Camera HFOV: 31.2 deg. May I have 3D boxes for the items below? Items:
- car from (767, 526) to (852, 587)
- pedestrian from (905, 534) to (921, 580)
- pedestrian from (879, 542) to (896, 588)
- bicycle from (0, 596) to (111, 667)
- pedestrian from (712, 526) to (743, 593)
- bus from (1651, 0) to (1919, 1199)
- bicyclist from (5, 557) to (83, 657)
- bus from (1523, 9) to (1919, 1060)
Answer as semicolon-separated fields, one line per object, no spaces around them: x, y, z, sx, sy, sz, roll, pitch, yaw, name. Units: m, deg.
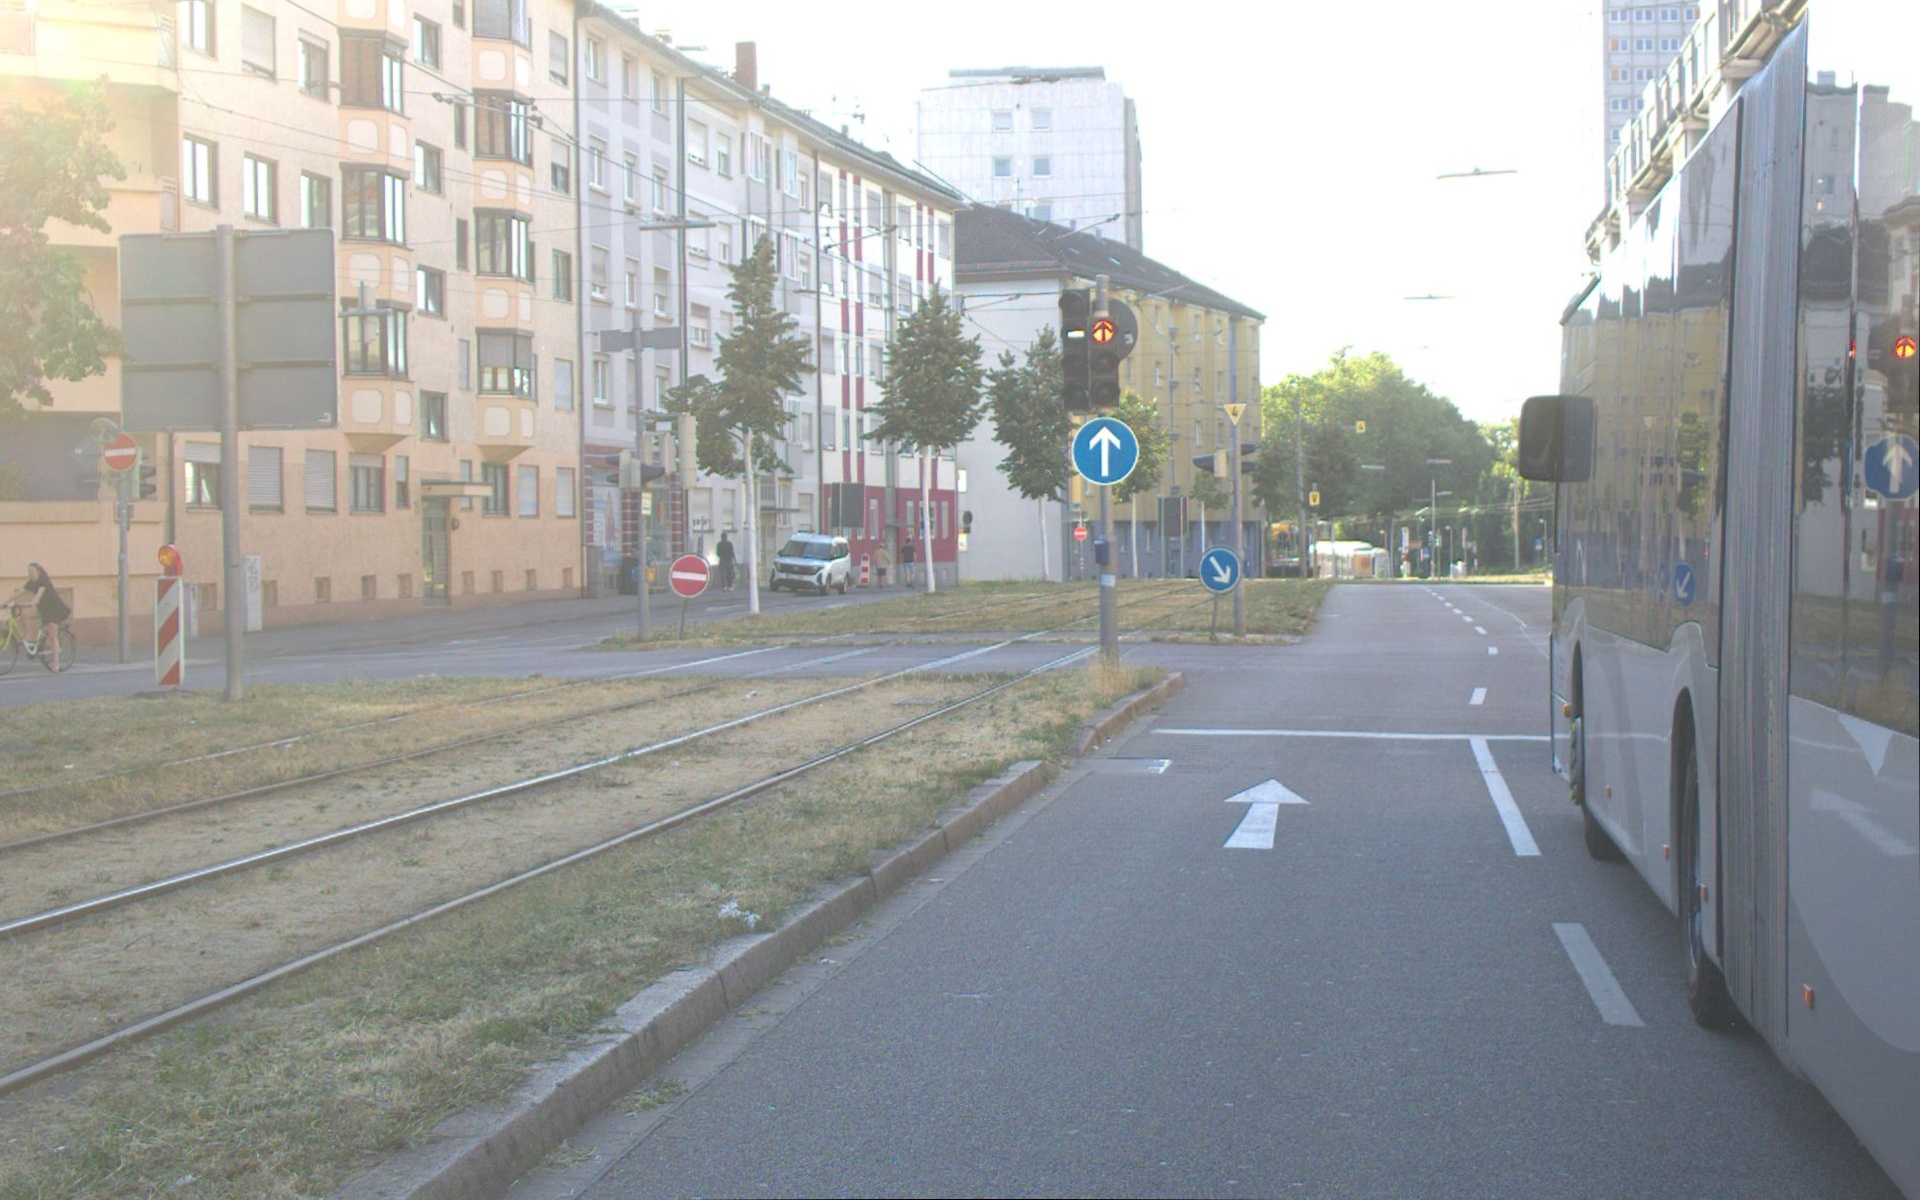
-4.636;-1.334;106.243;1.812;1.791;4.243;1;1;9;car
-1.706;-1.545;124.142;0.495;1.652;0.408;-1;1;8;pedestrian
-2.614;-1.272;123.969;0.495;1.652;0.408;-1;1;8;pedestrian
-13.413;0.453;50.540;0.529;0.980;1.879;0;1;38;bicycle
-6.969;-1.220;103.042;0.786;2.007;0.890;-1;1;4;pedestrian
2.866;-0.095;5.473;2.739;3.045;8.851;1;1;7;bus
-13.452;0.105;50.514;0.529;1.442;0.963;0;1;38;bicyclist
3.963;-0.257;14.421;2.739;3.045;9.129;1;1;7;bus
